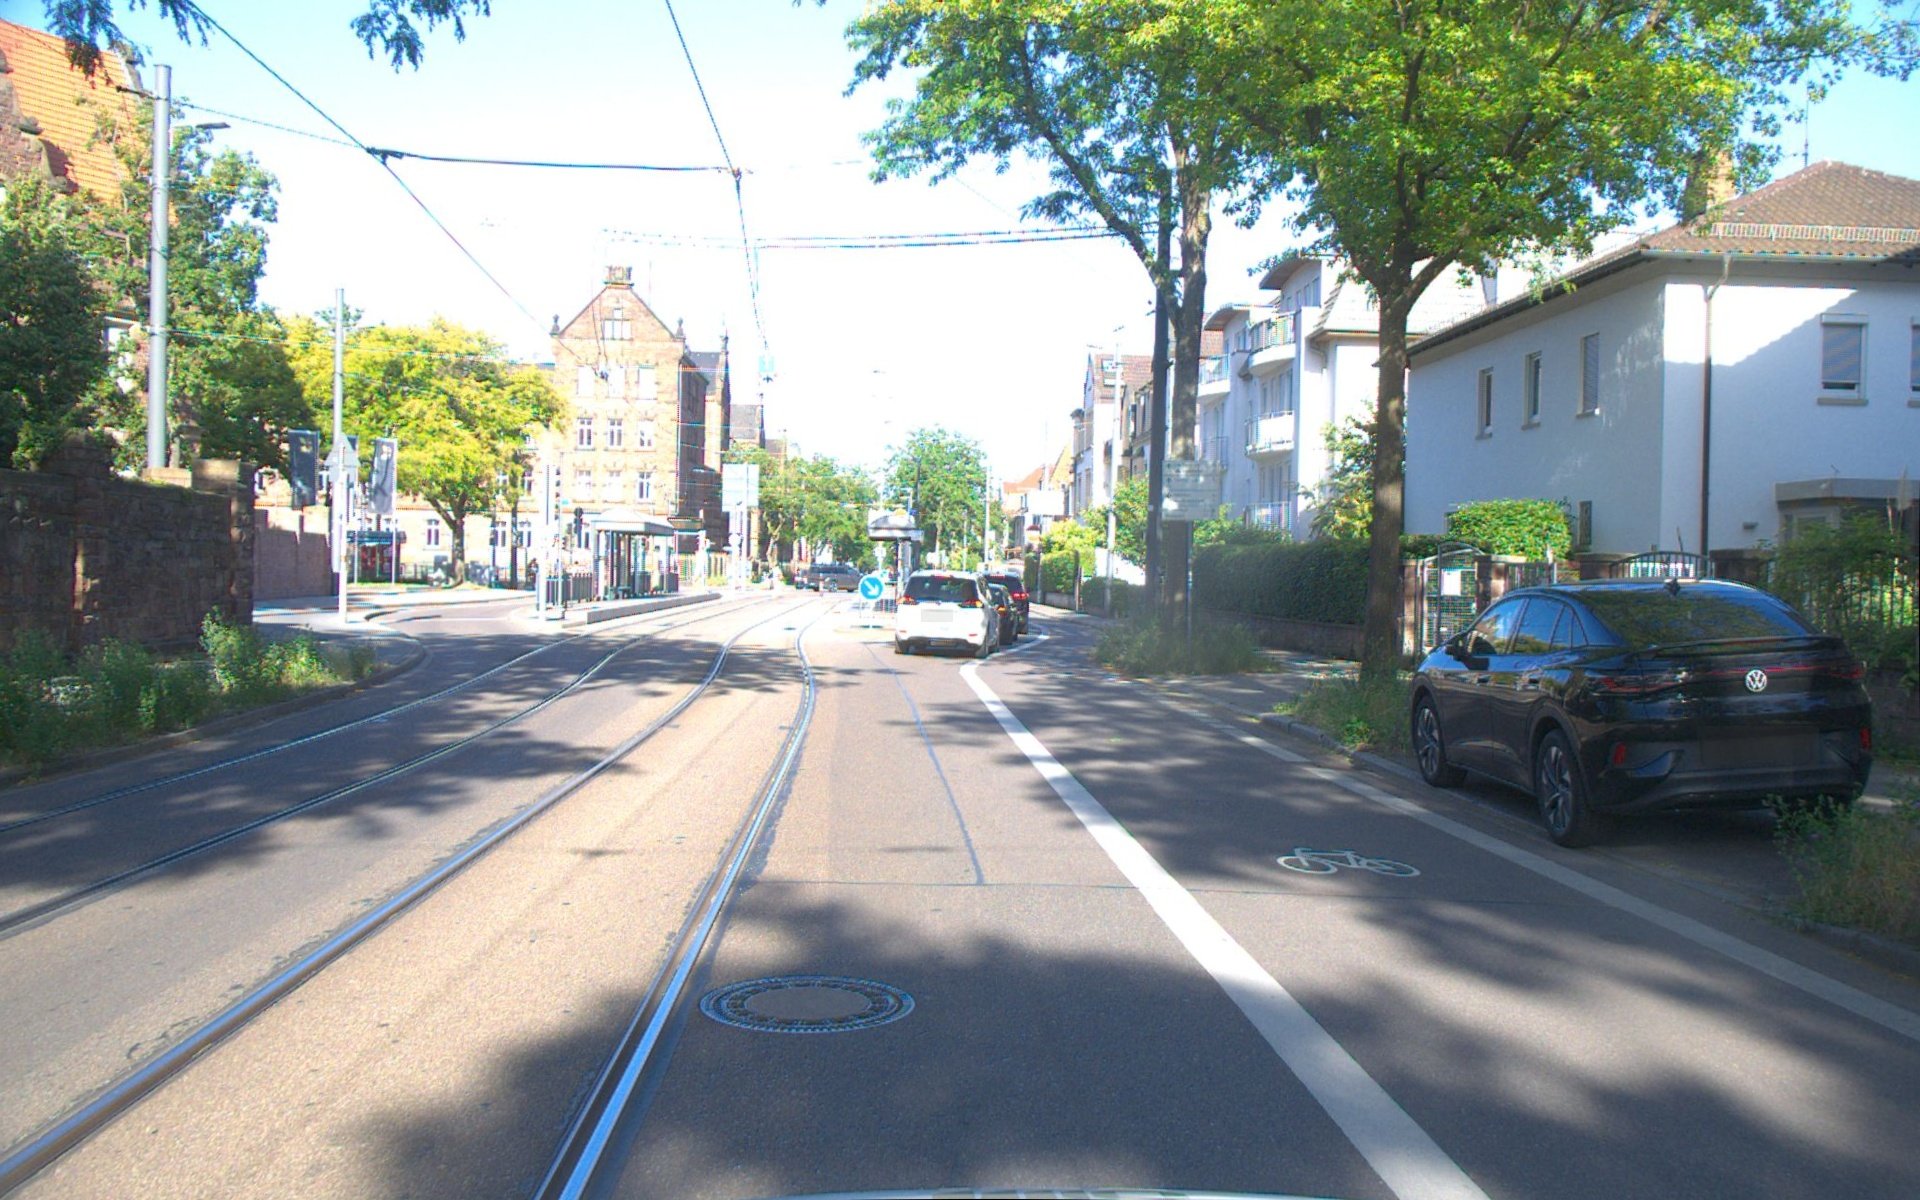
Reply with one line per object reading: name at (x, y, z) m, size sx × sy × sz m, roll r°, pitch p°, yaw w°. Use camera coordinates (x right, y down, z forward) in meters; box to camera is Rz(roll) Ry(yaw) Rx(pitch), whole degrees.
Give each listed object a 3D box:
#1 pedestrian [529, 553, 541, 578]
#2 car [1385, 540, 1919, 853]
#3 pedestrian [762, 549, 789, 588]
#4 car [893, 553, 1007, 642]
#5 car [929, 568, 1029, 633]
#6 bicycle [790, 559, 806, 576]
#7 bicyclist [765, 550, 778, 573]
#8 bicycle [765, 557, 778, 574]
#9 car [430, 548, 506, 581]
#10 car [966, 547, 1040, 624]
pedestrian at (-22.519, -1.820, 87.616) m, size 0.547 × 1.281 × 0.530 m, roll 0°, pitch 1°, yaw -3°
car at (4.637, 0.507, 11.963) m, size 1.768 × 1.723 × 4.728 m, roll -3°, pitch 1°, yaw -1°
pedestrian at (-9.596, -1.649, 86.268) m, size 1.131 × 2.048 × 1.120 m, roll 0°, pitch 1°, yaw 9°
car at (-0.130, -0.027, 33.277) m, size 1.852 × 1.639 × 4.231 m, roll 1°, pitch -1°, yaw 6°
car at (0.505, -0.029, 39.894) m, size 1.951 × 1.467 × 4.004 m, roll 1°, pitch 1°, yaw 7°
bicycle at (-12.820, -2.548, 130.980) m, size 1.125 × 1.319 × 2.859 m, roll 1°, pitch 1°, yaw -4°
bicyclist at (-14.592, -3.005, 128.372) m, size 0.924 × 1.764 × 0.861 m, roll 1°, pitch 1°, yaw -3°
bicycle at (-14.595, -2.667, 128.090) m, size 0.805 × 1.319 × 2.676 m, roll 1°, pitch 1°, yaw -3°
car at (-28.486, -2.037, 95.805) m, size 3.910 × 1.821 × 1.997 m, roll 1°, pitch 1°, yaw -7°
car at (1.235, -0.423, 46.032) m, size 1.672 × 2.048 × 3.910 m, roll 1°, pitch 1°, yaw 7°
